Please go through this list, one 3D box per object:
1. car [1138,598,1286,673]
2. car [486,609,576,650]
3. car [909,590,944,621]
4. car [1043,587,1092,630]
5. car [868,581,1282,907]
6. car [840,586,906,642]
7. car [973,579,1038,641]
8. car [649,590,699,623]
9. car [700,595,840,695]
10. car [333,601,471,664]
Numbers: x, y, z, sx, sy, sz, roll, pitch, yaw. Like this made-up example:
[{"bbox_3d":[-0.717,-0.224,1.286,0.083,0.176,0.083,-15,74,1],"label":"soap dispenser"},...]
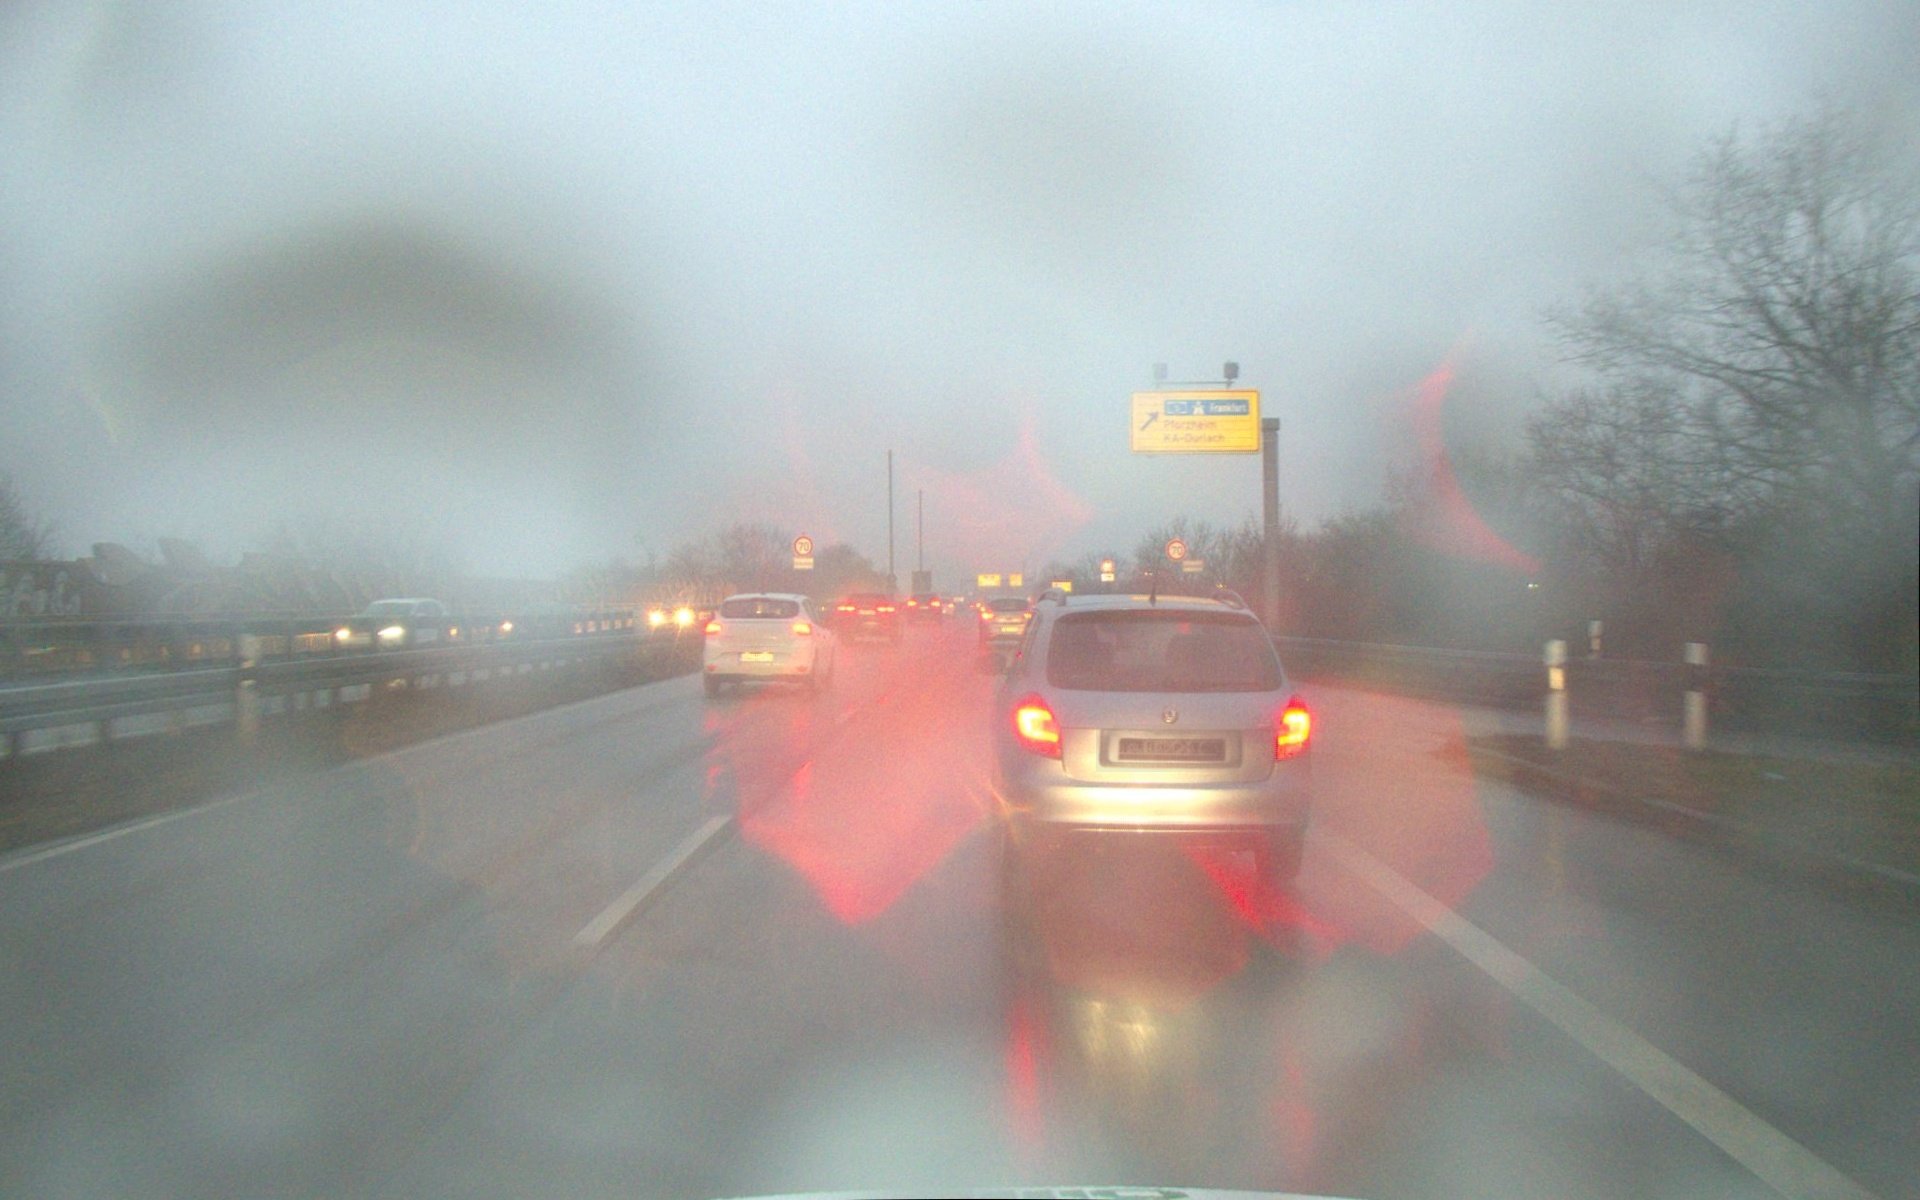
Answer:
[{"bbox_3d":[4.990,0.667,33.293,1.956,1.369,3.994,0,0,-7],"label":"car"},{"bbox_3d":[-16.071,1.092,62.177,1.748,1.428,4.313,0,0,8],"label":"car"},{"bbox_3d":[-1.750,0.280,88.078,1.753,1.572,4.000,0,0,0],"label":"car"},{"bbox_3d":[4.084,0.309,63.357,1.752,1.572,4.001,-1,0,2],"label":"car"},{"bbox_3d":[0.586,0.687,9.937,1.952,1.527,4.138,-1,0,1],"label":"car"},{"bbox_3d":[-2.767,0.415,51.966,1.954,1.629,4.305,1,0,-4],"label":"car"},{"bbox_3d":[1.331,0.279,50.121,1.858,1.798,4.308,0,0,0],"label":"car"},{"bbox_3d":[-14.301,0.317,82.793,1.750,1.592,4.850,0,0,-1],"label":"car"},{"bbox_3d":[-2.959,0.663,26.540,1.688,1.465,4.226,0,0,1],"label":"car"},{"bbox_3d":[-15.251,0.842,45.473,1.800,1.589,4.686,1,0,5],"label":"car"}]
